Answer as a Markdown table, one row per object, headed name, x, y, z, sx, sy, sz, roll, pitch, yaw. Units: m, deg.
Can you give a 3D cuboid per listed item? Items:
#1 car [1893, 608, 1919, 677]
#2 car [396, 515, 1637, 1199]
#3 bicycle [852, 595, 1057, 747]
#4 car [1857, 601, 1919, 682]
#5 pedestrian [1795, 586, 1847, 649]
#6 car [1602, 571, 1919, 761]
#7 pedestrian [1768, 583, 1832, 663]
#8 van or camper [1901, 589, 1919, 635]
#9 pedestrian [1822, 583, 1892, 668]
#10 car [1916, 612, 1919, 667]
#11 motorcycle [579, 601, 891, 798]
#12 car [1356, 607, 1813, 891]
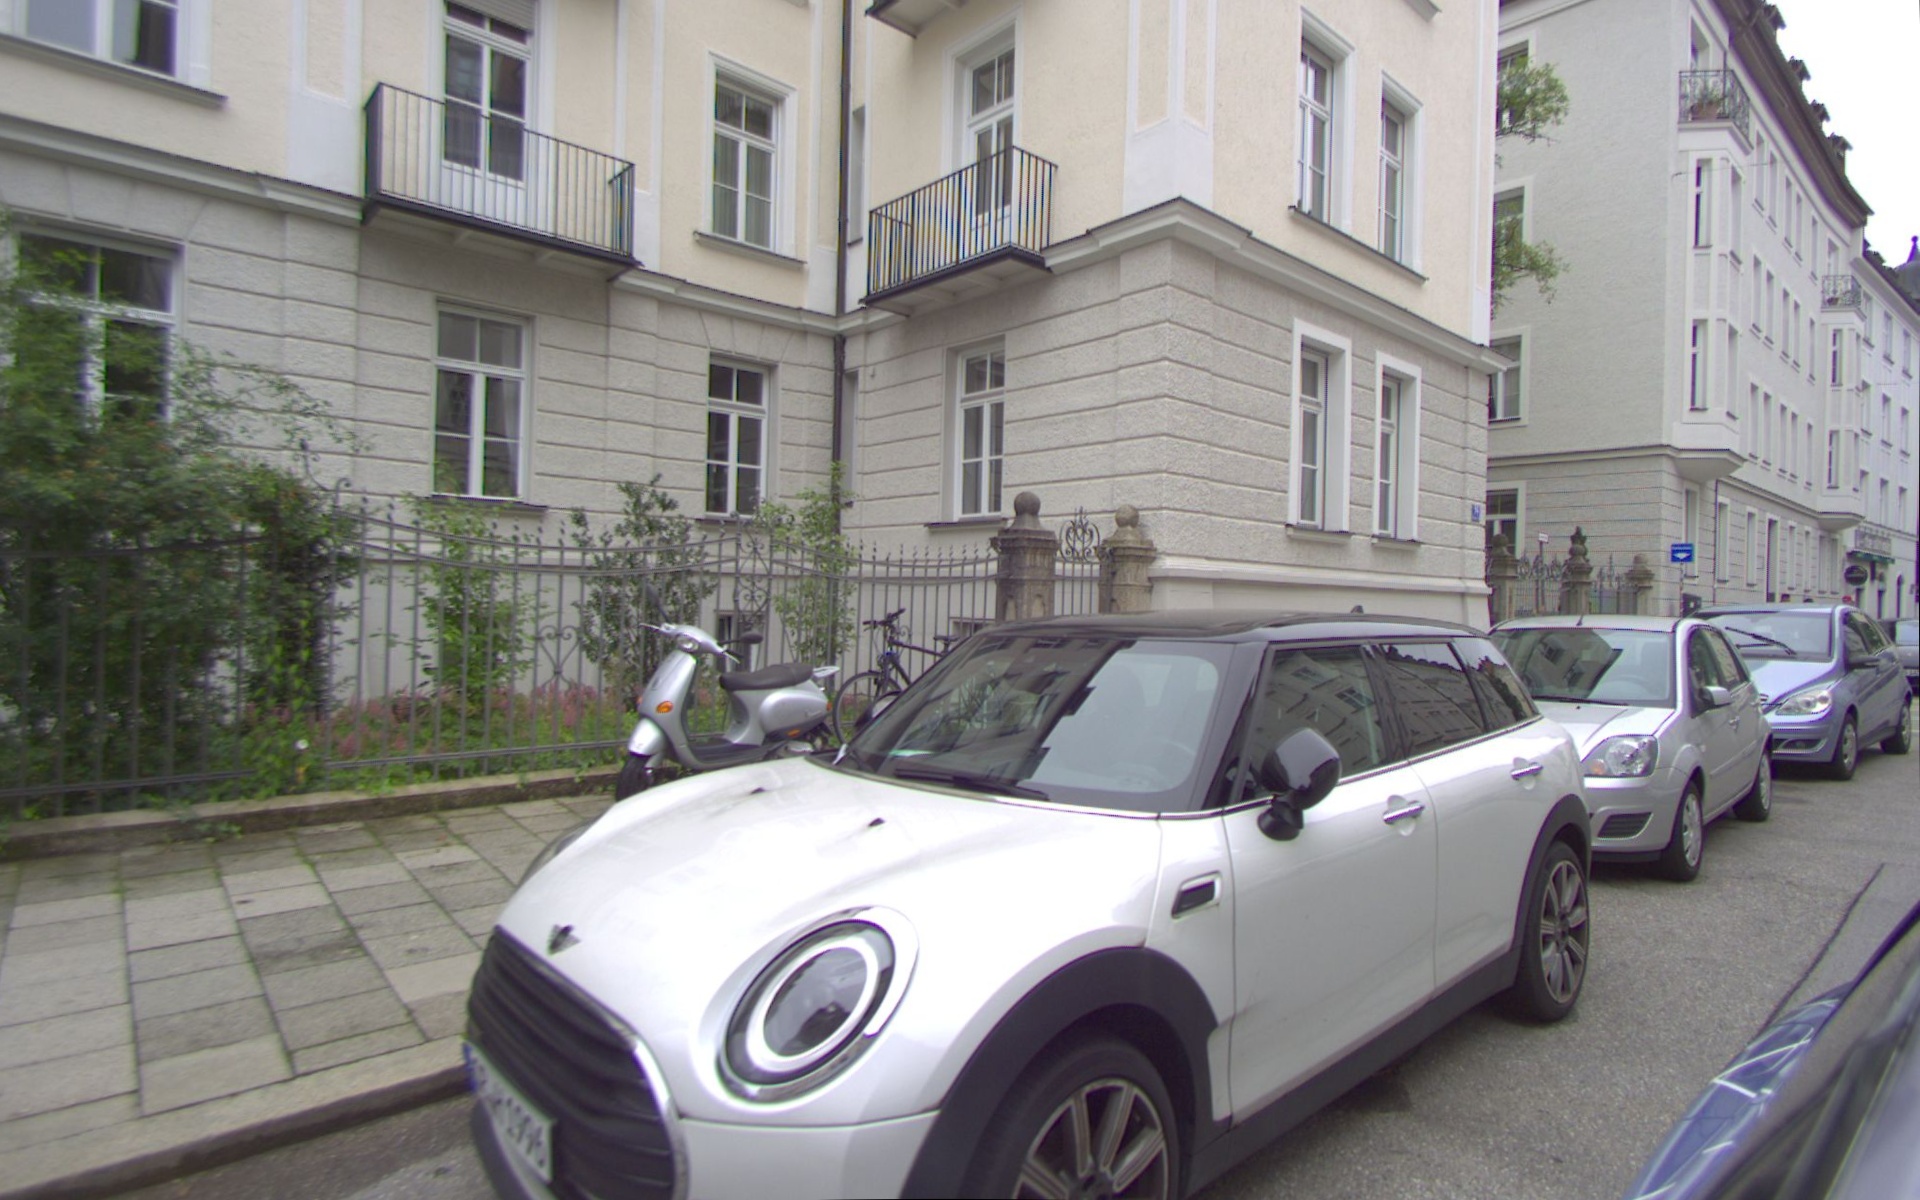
| name | x | y | z | sx | sy | sz | roll | pitch | yaw |
| --- | --- | --- | --- | --- | --- | --- | --- | --- | --- |
| car | 22.980 | 0.958 | 23.238 | 4.342 | 1.505 | 1.763 | 1 | -2 | -41 |
| car | 0.584 | 0.659 | 3.338 | 3.994 | 1.523 | 1.787 | 1 | 0 | -41 |
| bicycle | 0.001 | 0.540 | 8.395 | 1.848 | 1.140 | 0.435 | 1 | 0 | -41 |
| car | 19.520 | 0.800 | 20.029 | 4.628 | 1.476 | 1.997 | 1 | 0 | -40 |
| pedestrian | 26.373 | 0.522 | 30.997 | 1.091 | 1.835 | 0.886 | 1 | 4 | -40 |
| car | 8.545 | 0.606 | 10.555 | 4.321 | 1.590 | 1.826 | 1 | -2 | -39 |
| pedestrian | 19.780 | 0.523 | 23.829 | 1.091 | 1.808 | 0.885 | 1 | 2 | -39 |
| van or camper | 61.368 | 0.804 | 61.677 | 5.850 | 2.749 | 2.268 | 2 | -2 | 43 |
| pedestrian | 20.370 | 0.563 | 22.982 | 1.090 | 1.834 | 0.886 | 1 | 2 | -35 |
| car | 26.941 | 1.047 | 27.045 | 4.891 | 1.417 | 1.837 | 1 | -2 | -44 |
| motorcycle | -1.430 | 0.579 | 6.672 | 1.928 | 1.126 | 0.609 | 1 | 0 | -38 |
| car | 4.380 | 0.774 | 6.934 | 3.391 | 1.424 | 1.757 | 1 | 0 | -41 |
